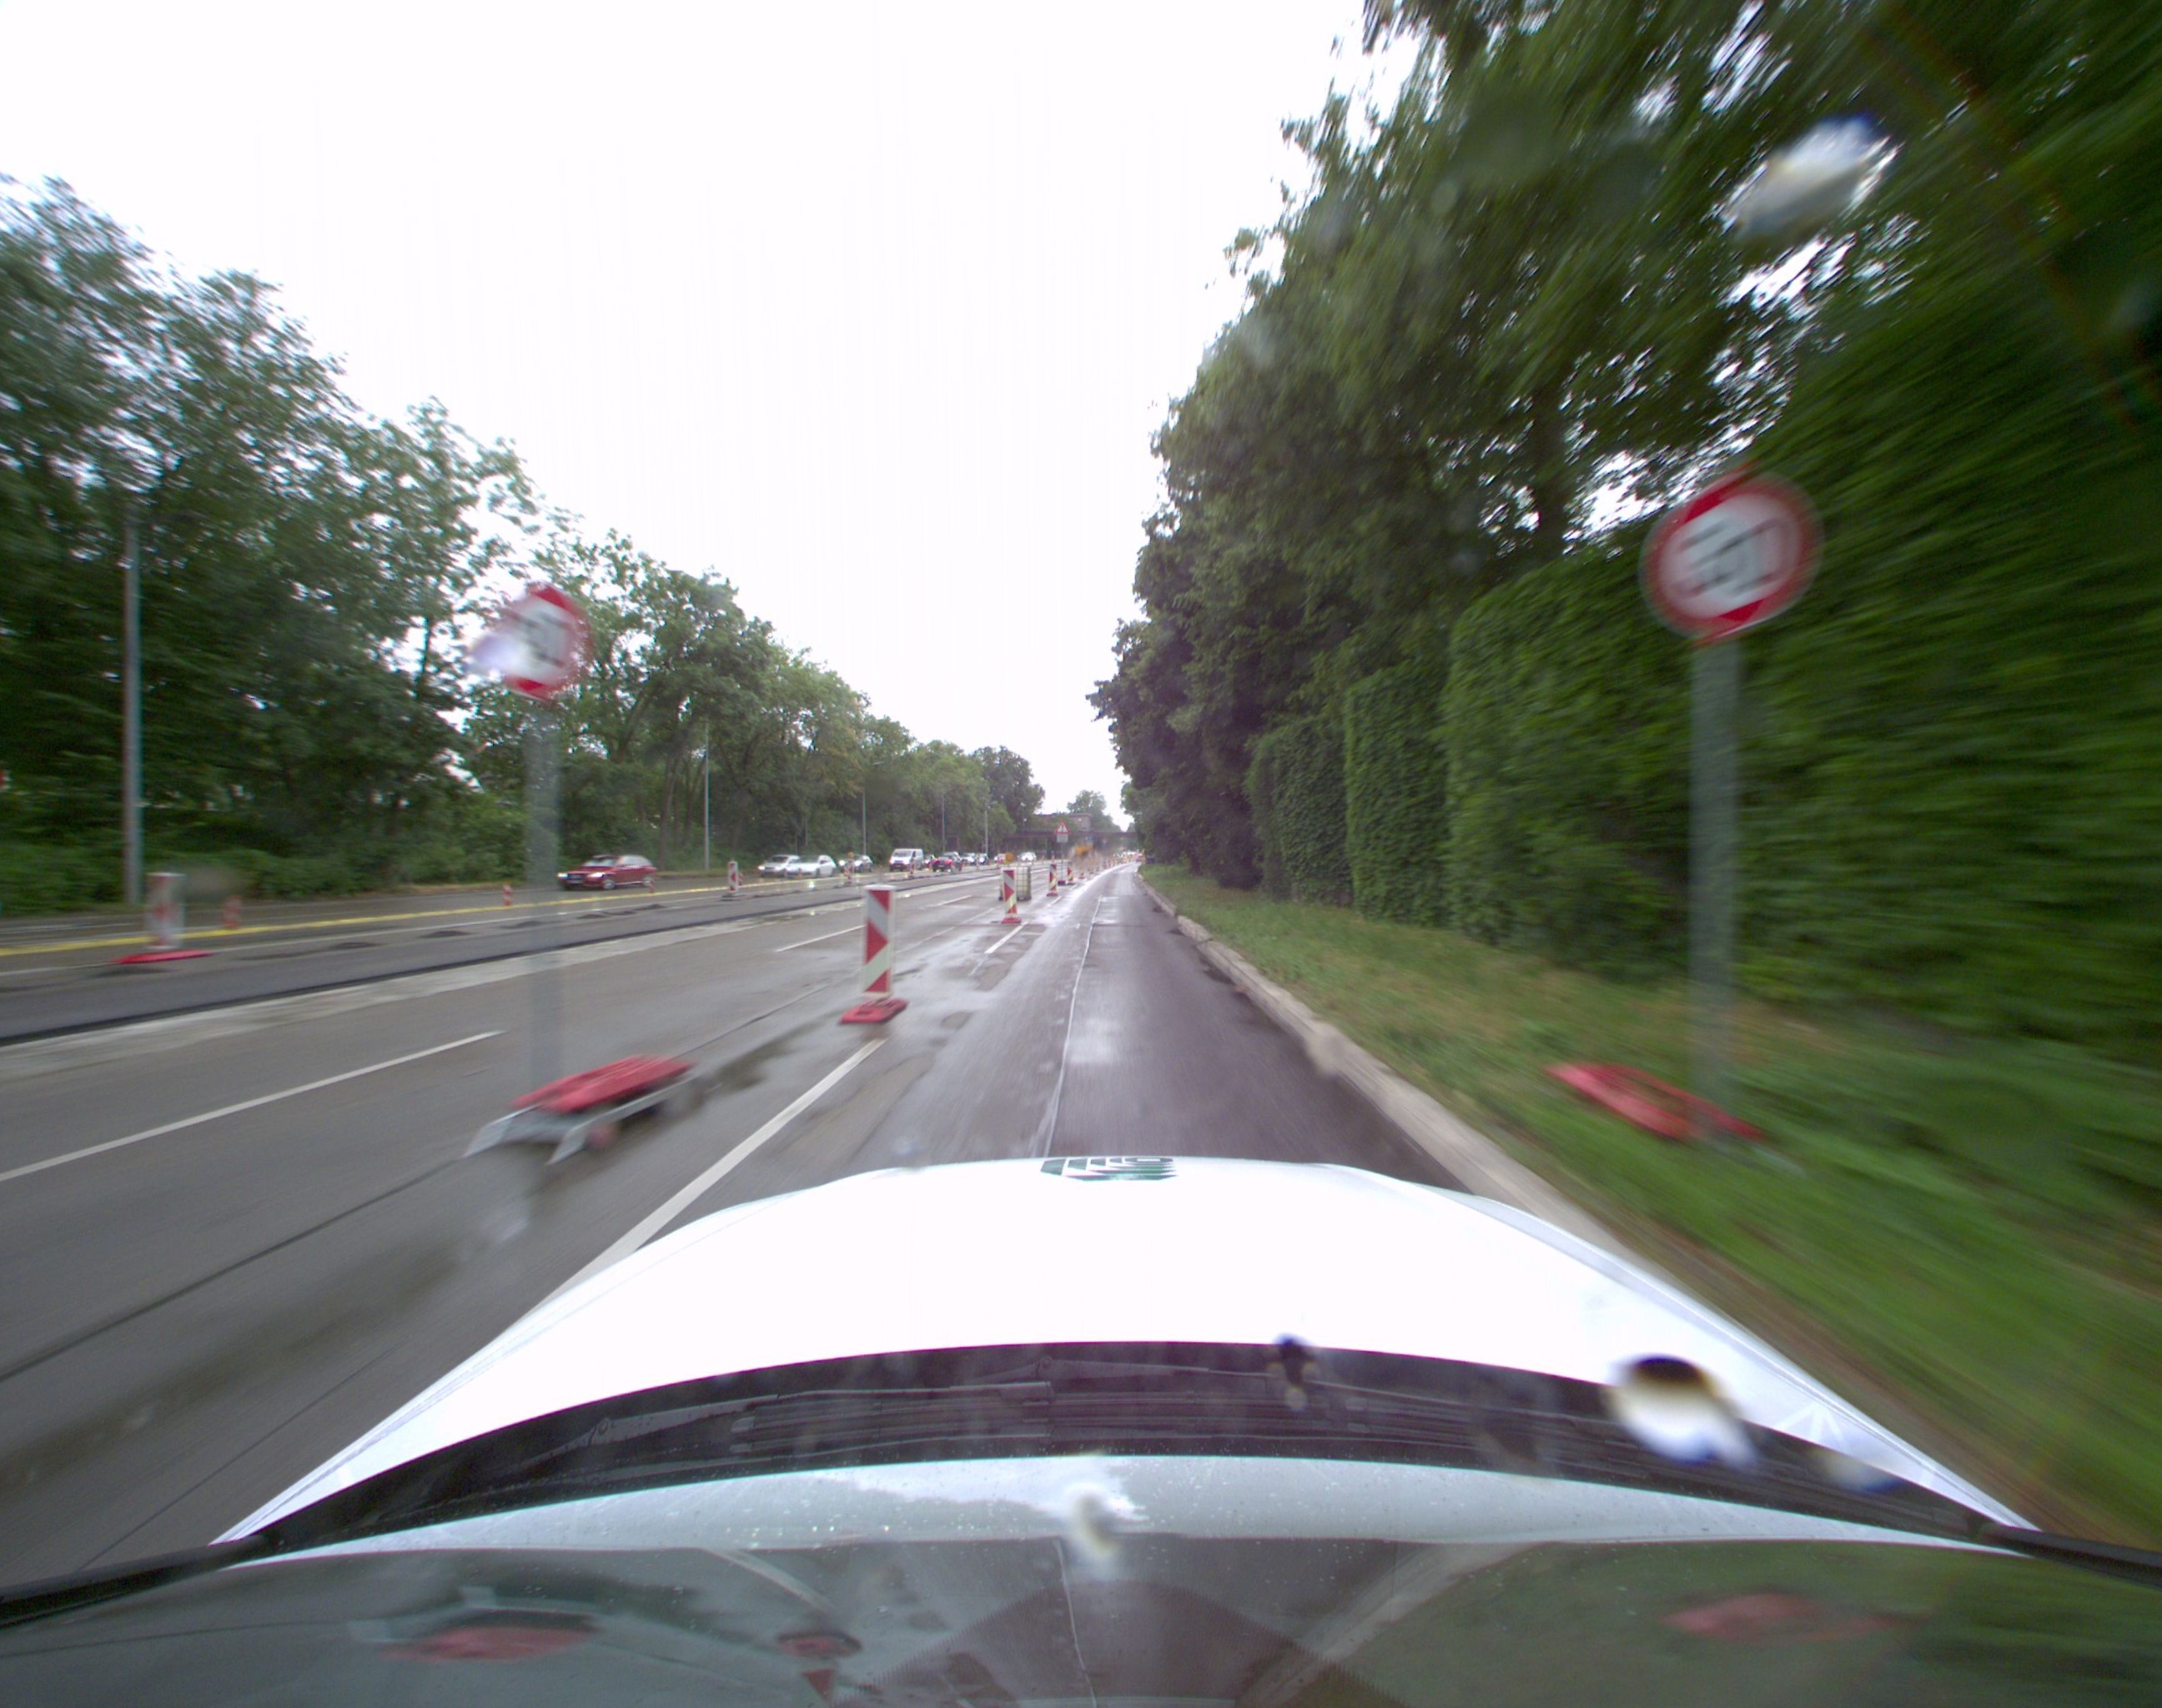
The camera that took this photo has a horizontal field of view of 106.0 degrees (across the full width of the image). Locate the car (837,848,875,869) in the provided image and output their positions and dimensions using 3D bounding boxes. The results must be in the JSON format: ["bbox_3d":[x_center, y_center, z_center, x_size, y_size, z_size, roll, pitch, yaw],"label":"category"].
[{"bbox_3d":[-18.193,0.382,66.005,1.820,1.621,4.002,1,0,2],"label":"car"}]

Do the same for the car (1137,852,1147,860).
[{"bbox_3d":[12.347,0.464,164.970,1.983,1.640,4.007,-1,-1,6],"label":"car"}]

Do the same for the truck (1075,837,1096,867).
[{"bbox_3d":[0.745,-0.294,123.389,2.887,4.259,10.758,1,0,1],"label":"truck"}]

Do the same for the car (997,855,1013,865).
[{"bbox_3d":[-11.180,0.869,119.647,1.672,1.400,4.016,1,0,3],"label":"car"}]

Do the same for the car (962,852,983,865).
[{"bbox_3d":[-13.252,0.567,99.552,1.769,1.487,4.199,1,0,2],"label":"car"}]

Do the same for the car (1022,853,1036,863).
[{"bbox_3d":[-9.053,0.639,141.583,1.882,1.661,4.897,1,0,3],"label":"car"}]

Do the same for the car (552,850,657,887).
[{"bbox_3d":[-20.154,0.586,34.704,1.722,1.476,4.488,0,0,1],"label":"car"}]

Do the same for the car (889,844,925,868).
[{"bbox_3d":[-15.071,0.177,70.906,1.987,1.972,4.903,1,0,1],"label":"car"}]

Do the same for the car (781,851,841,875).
[{"bbox_3d":[-16.356,0.539,49.639,1.985,1.416,4.397,-1,-1,3],"label":"car"}]

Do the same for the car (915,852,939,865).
[{"bbox_3d":[-16.665,0.505,88.200,1.638,1.420,4.004,1,0,4],"label":"car"}]

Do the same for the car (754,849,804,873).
[{"bbox_3d":[-19.148,0.443,51.779,1.672,1.400,3.642,1,-1,3],"label":"car"}]

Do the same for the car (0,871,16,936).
[{"bbox_3d":[-20.685,0.879,13.105,1.681,1.183,4.004,1,0,4],"label":"car"}]
